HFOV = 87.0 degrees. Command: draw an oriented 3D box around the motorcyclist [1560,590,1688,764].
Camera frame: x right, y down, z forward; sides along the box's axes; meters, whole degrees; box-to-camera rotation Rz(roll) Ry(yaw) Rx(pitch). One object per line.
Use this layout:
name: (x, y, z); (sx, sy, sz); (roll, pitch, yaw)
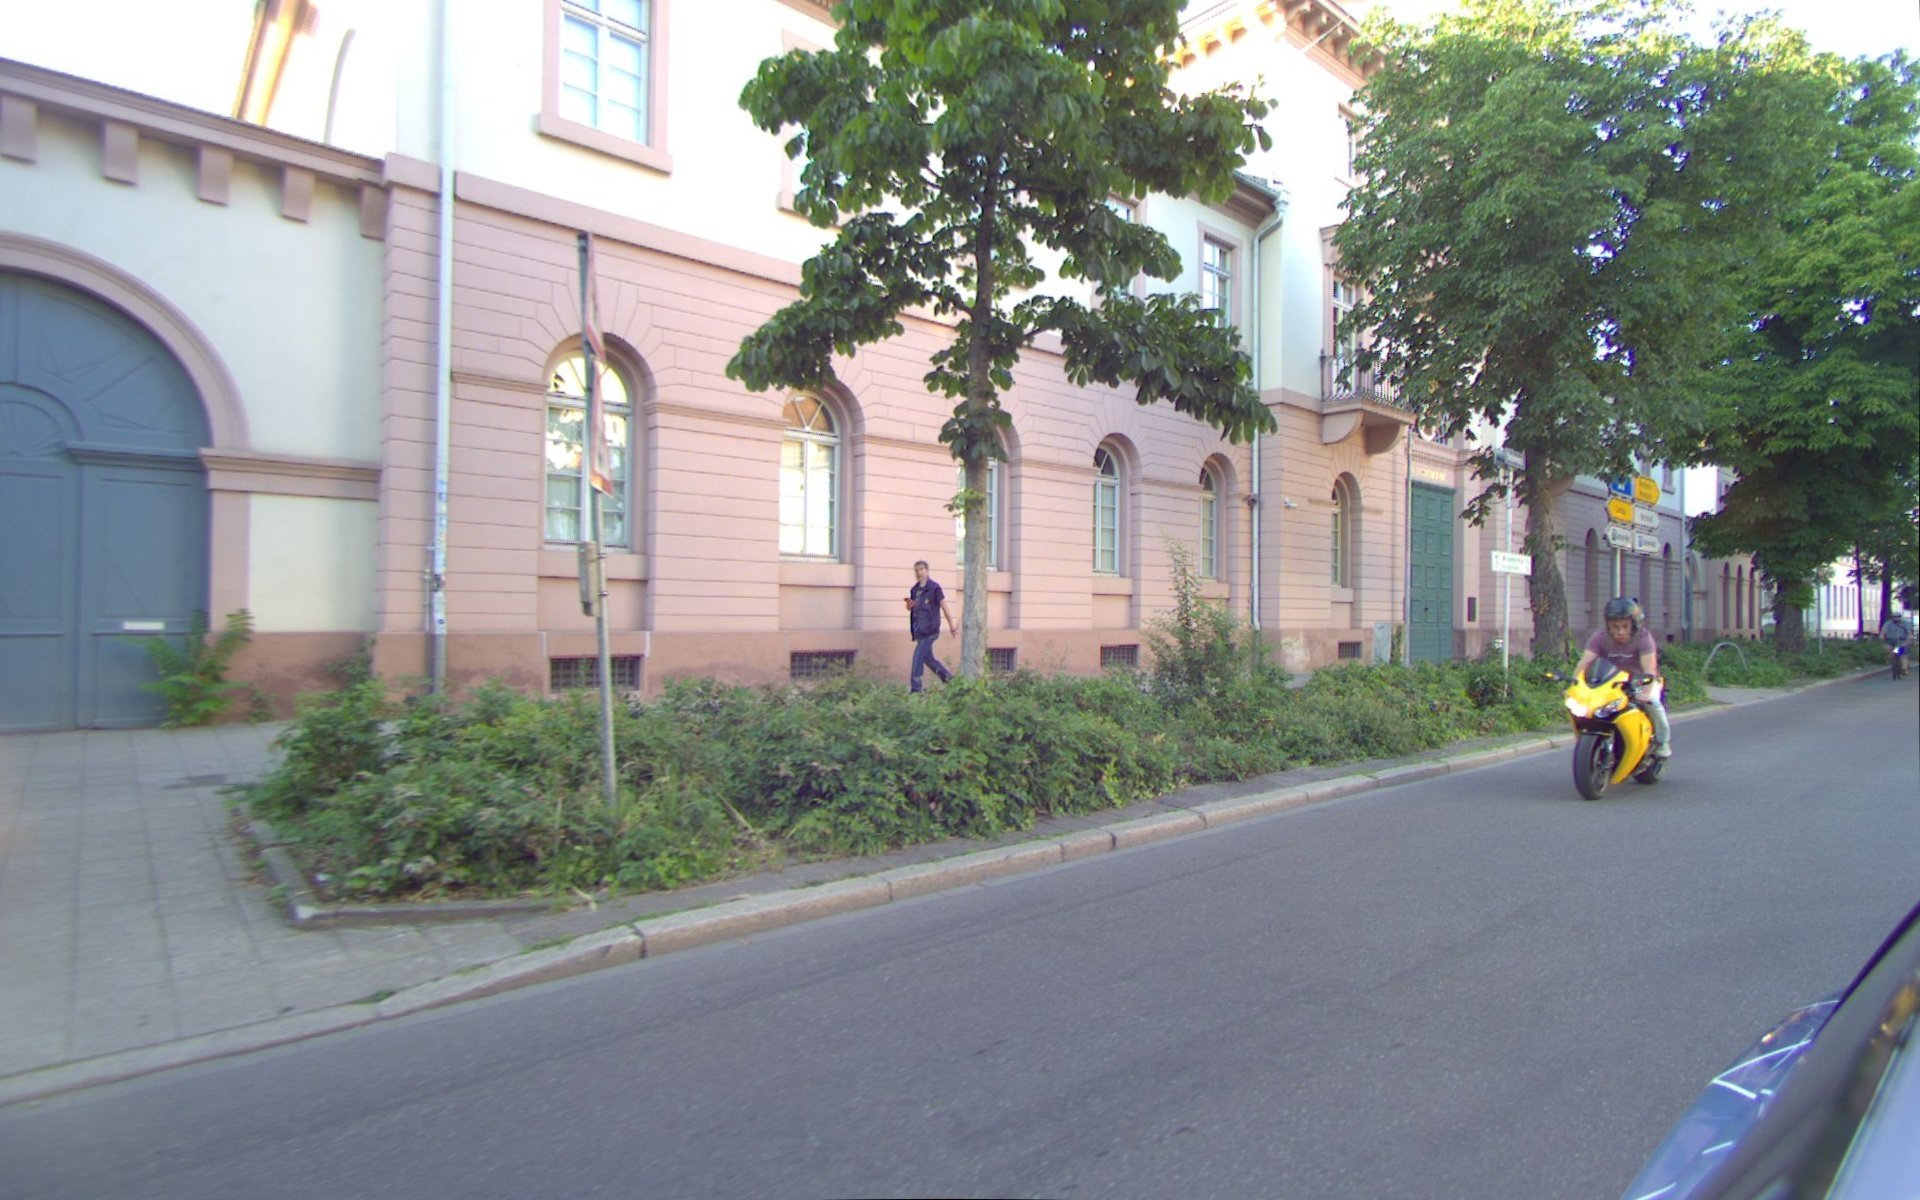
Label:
motorcyclist: (5.848, 0.649, 8.918); (0.687, 1.438, 0.791); (1, -2, -44)

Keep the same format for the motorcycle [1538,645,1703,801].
motorcycle: (5.827, 1.003, 8.881); (1.934, 1.175, 0.791); (1, -2, -44)

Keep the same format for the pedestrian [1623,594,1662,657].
pedestrian: (20.744, 0.763, 30.773); (0.914, 1.855, 0.799); (1, -1, -43)

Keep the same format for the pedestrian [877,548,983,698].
pedestrian: (-0.391, 0.286, 13.267); (1.063, 1.862, 0.800); (2, 1, -38)

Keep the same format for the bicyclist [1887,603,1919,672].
bicyclist: (26.147, 1.037, 27.852); (0.812, 1.863, 0.782); (1, -3, -41)

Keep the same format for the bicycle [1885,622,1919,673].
bicycle: (26.147, 1.288, 27.843); (2.042, 1.347, 0.782); (1, -3, -41)
